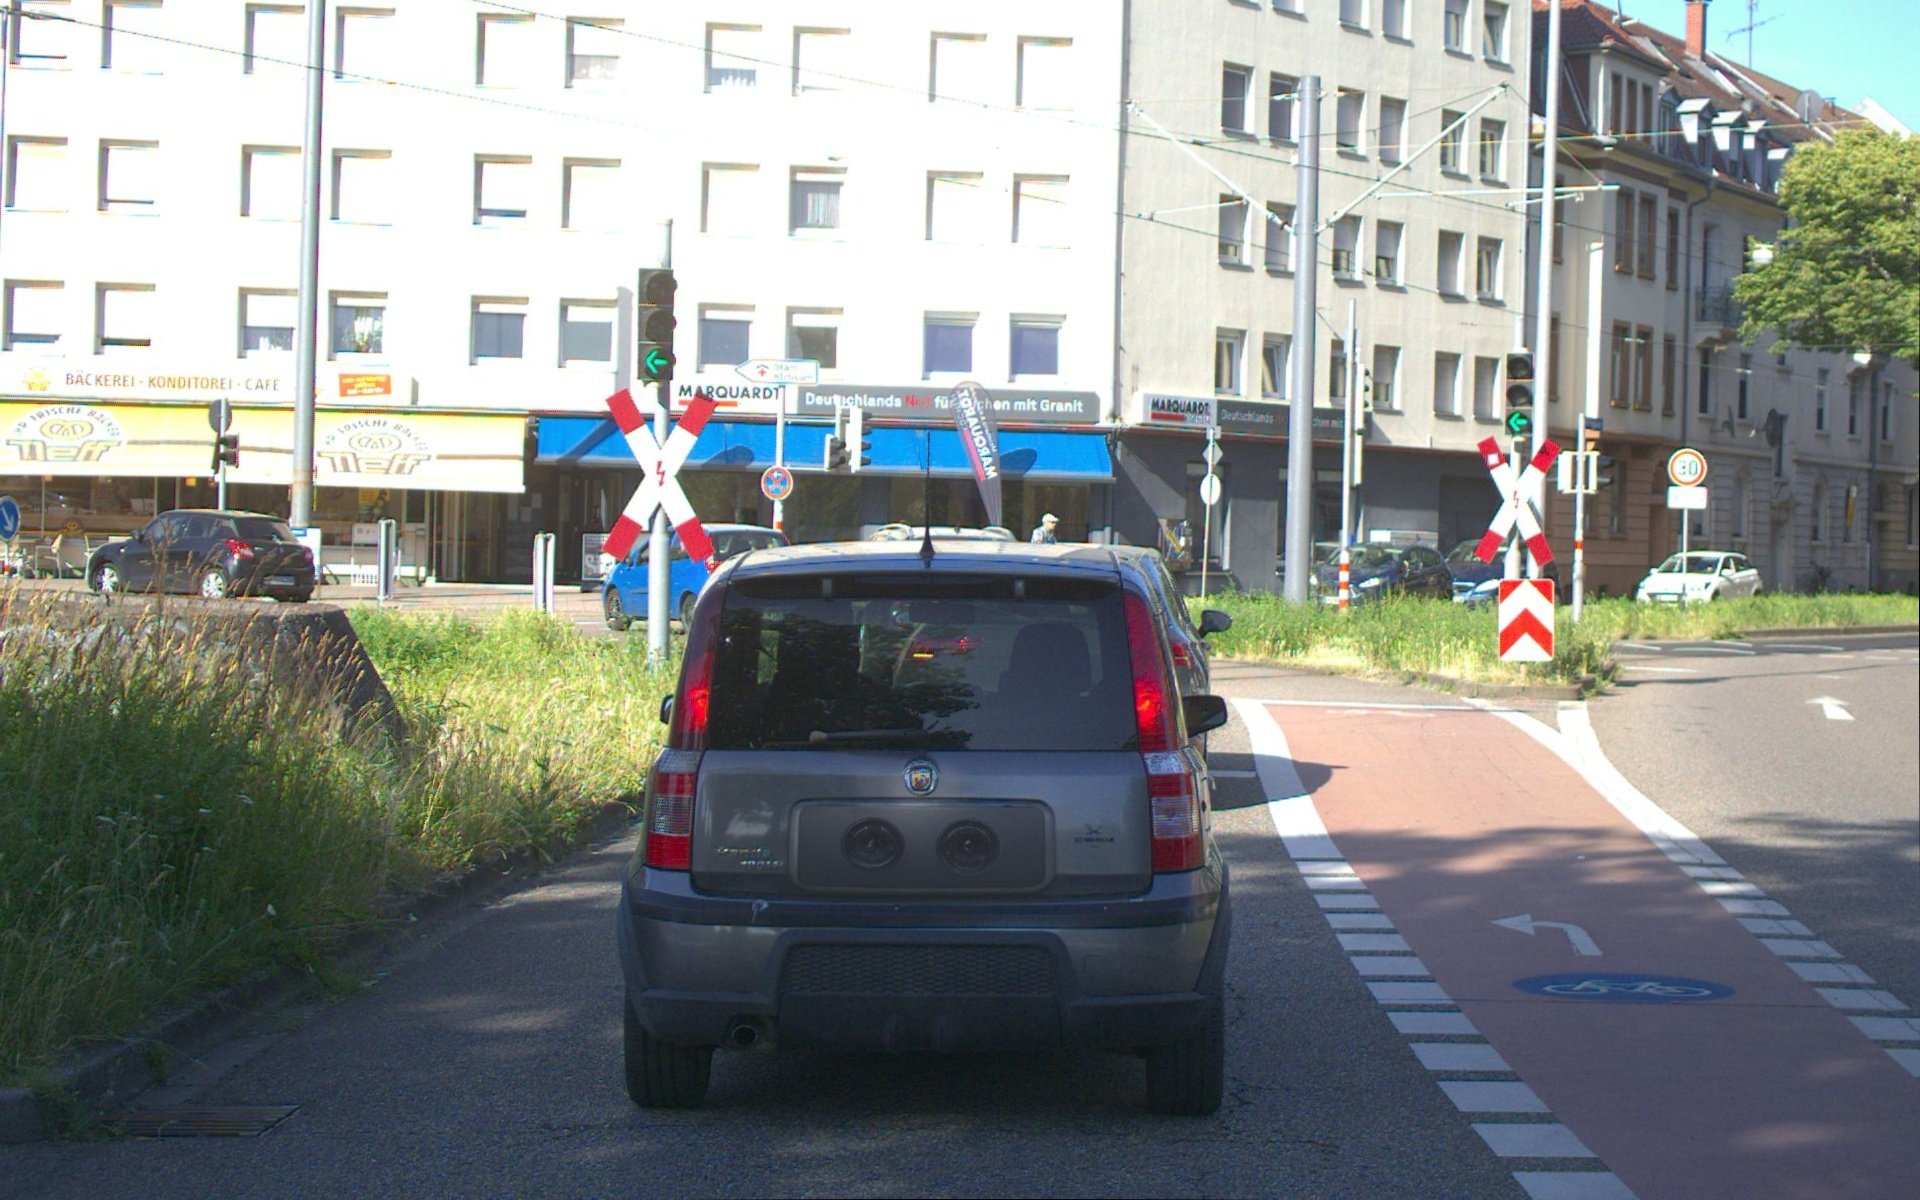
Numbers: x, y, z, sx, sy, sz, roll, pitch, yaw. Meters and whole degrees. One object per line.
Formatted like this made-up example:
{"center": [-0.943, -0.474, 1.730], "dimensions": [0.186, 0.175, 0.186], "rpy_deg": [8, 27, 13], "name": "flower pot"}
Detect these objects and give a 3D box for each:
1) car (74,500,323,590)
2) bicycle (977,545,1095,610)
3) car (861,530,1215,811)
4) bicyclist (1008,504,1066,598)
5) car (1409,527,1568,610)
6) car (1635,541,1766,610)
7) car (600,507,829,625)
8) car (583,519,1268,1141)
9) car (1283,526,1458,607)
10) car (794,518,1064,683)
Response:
{"center": [-11.645, -0.851, 52.528], "dimensions": [3.621, 1.249, 1.692], "rpy_deg": [3, 1, 35], "name": "car"}
{"center": [1.268, -0.376, 57.414], "dimensions": [1.852, 1.029, 0.589], "rpy_deg": [2, 1, 15], "name": "bicycle"}
{"center": [0.362, 0.337, 19.898], "dimensions": [1.621, 1.424, 3.689], "rpy_deg": [2, 1, -5], "name": "car"}
{"center": [1.286, -0.819, 57.407], "dimensions": [0.822, 1.553, 0.561], "rpy_deg": [2, 1, 16], "name": "bicyclist"}
{"center": [10.555, -0.630, 68.512], "dimensions": [1.793, 1.560, 3.759], "rpy_deg": [2, 1, 31], "name": "car"}
{"center": [16.694, -0.548, 77.392], "dimensions": [1.793, 1.477, 3.525], "rpy_deg": [2, 1, 31], "name": "car"}
{"center": [-3.274, -0.467, 45.347], "dimensions": [1.646, 1.433, 3.396], "rpy_deg": [1, 1, -30], "name": "car"}
{"center": [-0.152, 0.538, 10.152], "dimensions": [1.660, 1.505, 3.252], "rpy_deg": [2, 1, -2], "name": "car"}
{"center": [7.611, -0.617, 63.452], "dimensions": [1.793, 1.391, 3.718], "rpy_deg": [2, 1, 31], "name": "car"}
{"center": [-0.379, -0.039, 34.022], "dimensions": [1.759, 1.481, 4.295], "rpy_deg": [1, 1, -13], "name": "car"}
